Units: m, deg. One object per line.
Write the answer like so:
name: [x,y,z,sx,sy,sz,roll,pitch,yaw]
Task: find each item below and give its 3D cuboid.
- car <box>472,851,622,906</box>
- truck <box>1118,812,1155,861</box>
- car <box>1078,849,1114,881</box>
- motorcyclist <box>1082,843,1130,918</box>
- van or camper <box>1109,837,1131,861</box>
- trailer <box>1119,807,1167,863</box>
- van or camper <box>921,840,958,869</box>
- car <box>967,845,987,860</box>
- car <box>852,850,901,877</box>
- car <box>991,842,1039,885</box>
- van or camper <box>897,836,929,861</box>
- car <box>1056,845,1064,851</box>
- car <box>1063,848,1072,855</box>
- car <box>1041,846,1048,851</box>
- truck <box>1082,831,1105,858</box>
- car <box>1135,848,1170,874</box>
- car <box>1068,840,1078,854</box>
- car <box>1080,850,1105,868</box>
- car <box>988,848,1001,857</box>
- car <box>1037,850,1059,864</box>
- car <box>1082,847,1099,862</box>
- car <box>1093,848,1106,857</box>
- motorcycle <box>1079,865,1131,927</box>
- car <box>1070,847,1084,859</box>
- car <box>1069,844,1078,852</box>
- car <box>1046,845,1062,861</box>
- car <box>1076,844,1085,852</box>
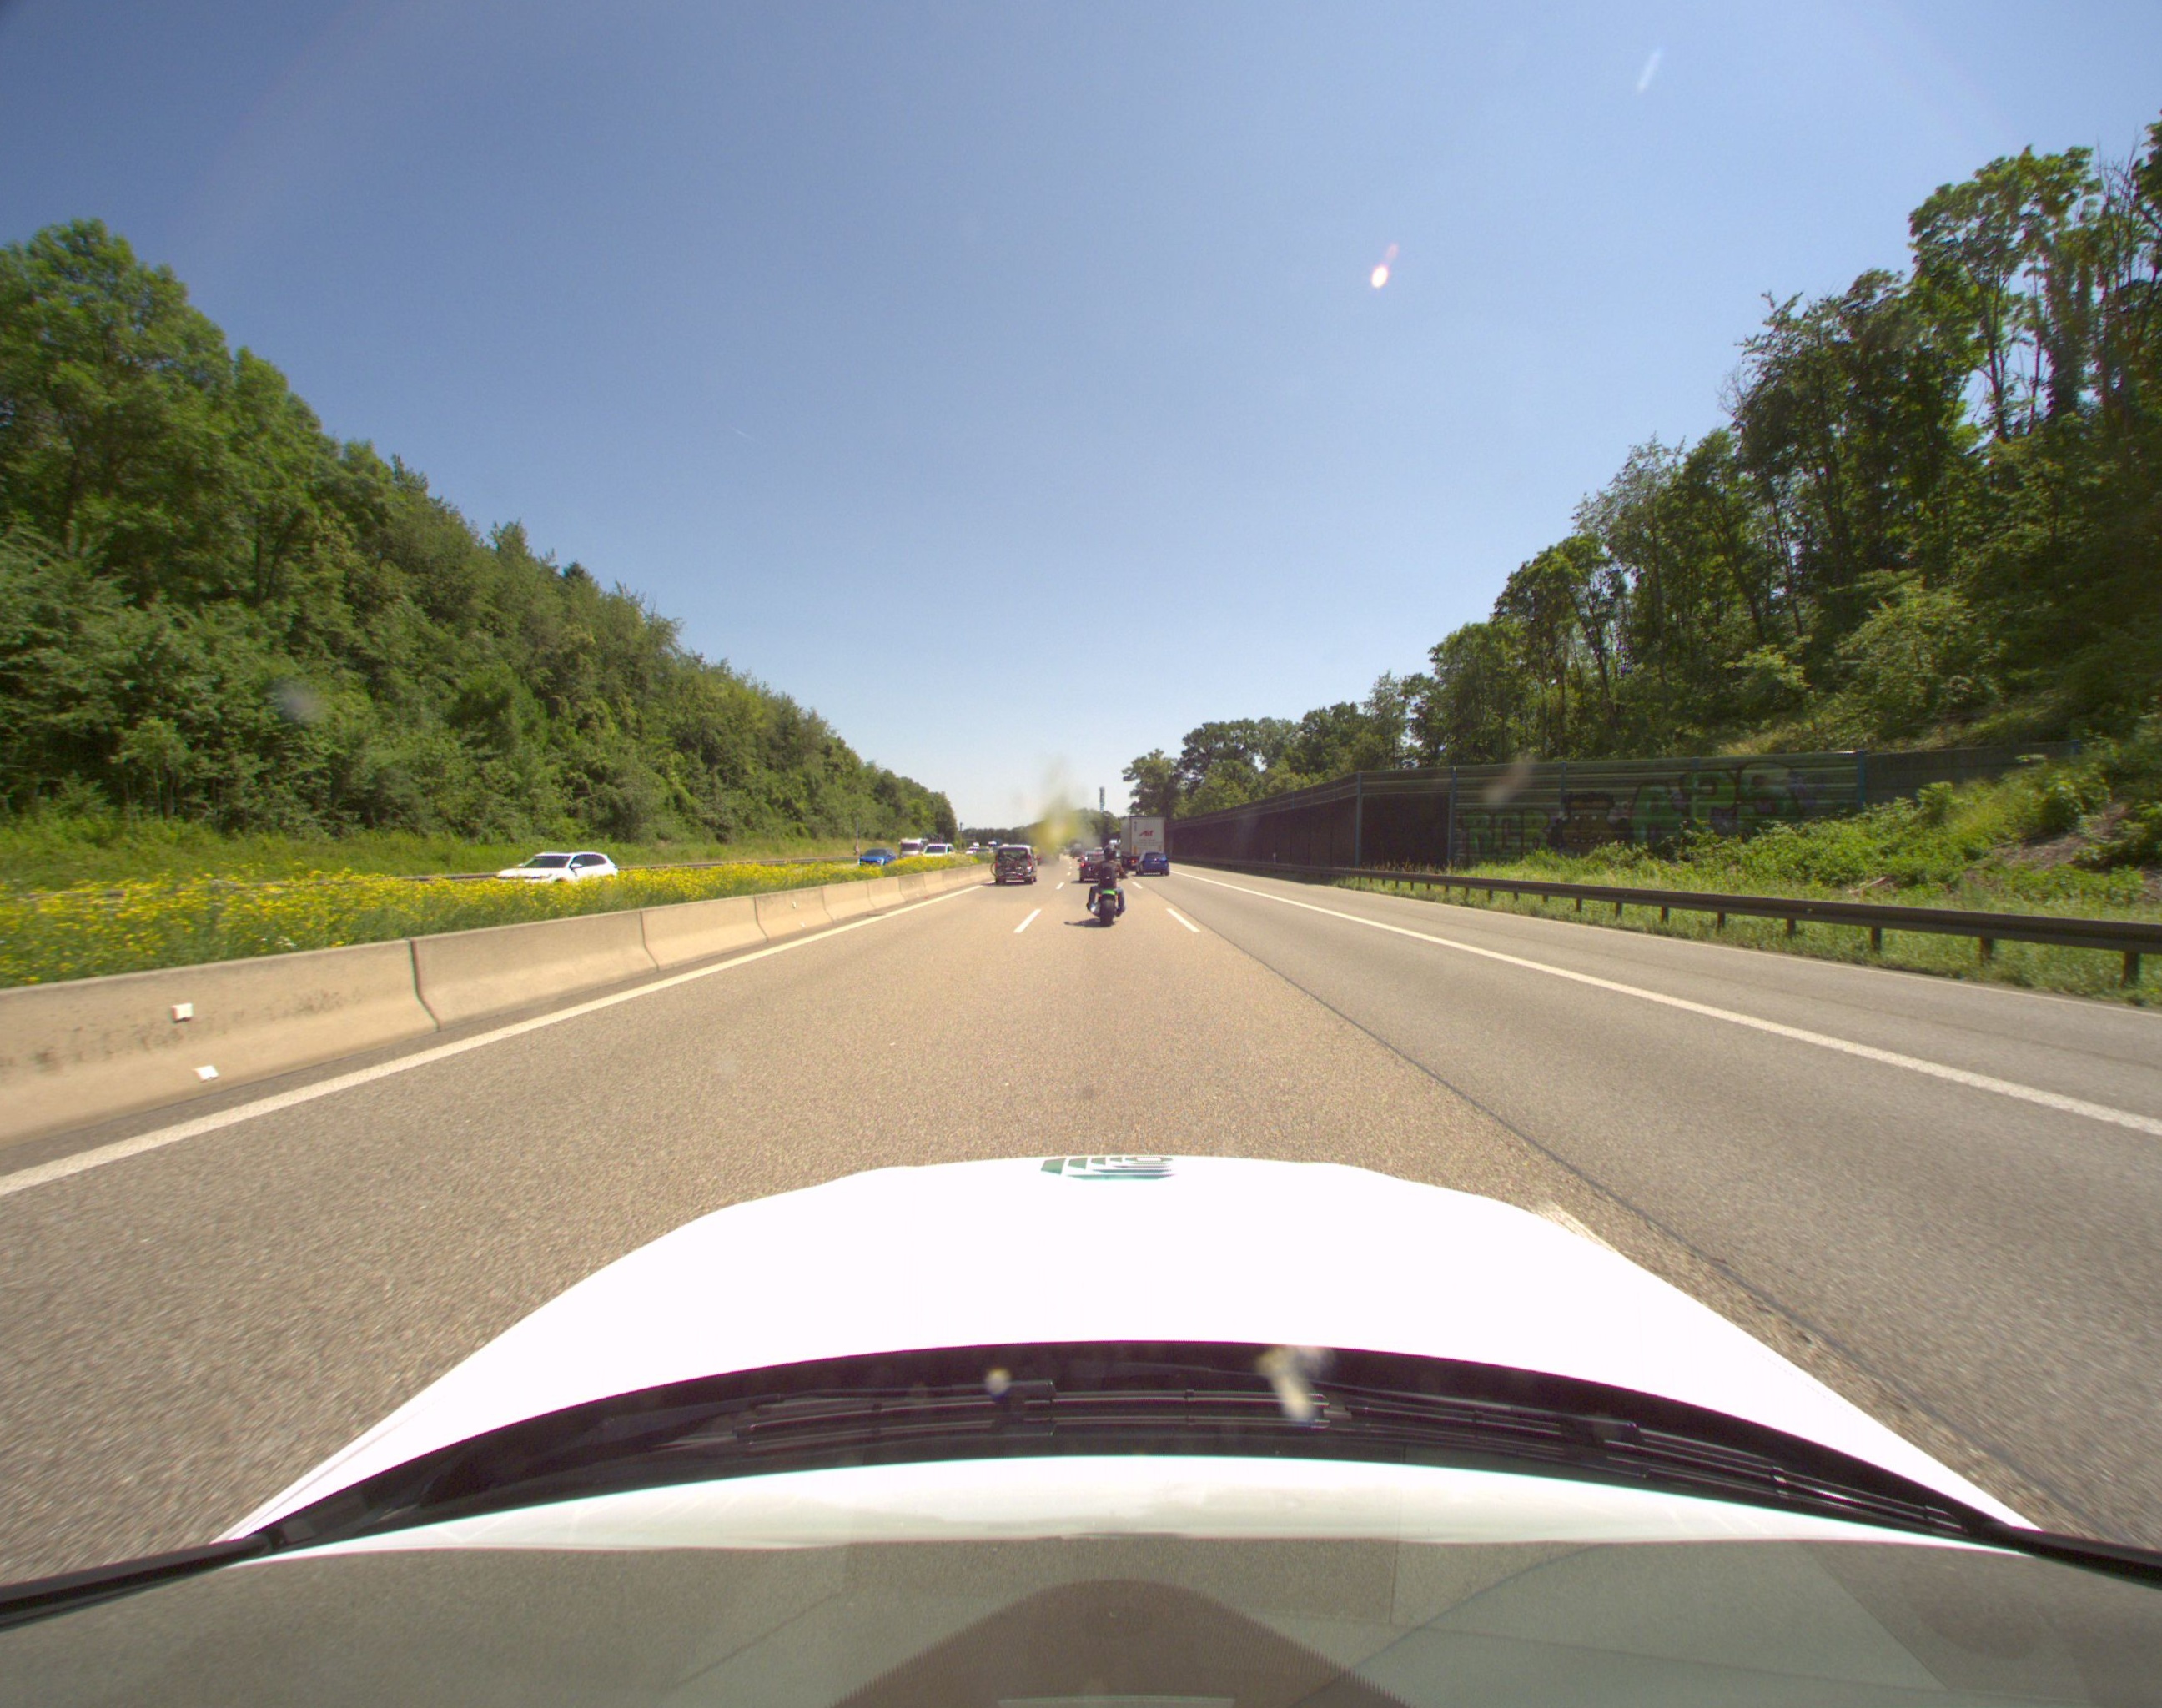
car: [-17.597,0.746,27.165,1.987,1.616,4.484,-1,0,0]
truck: [4.888,-1.523,72.777,2.876,4.146,5.986,-1,0,0]
car: [0.734,0.547,39.954,1.656,1.453,3.870,-1,-1,1]
motorcyclist: [0.546,0.537,17.127,0.895,1.475,1.874,-1,-1,4]
van or camper: [4.855,-0.562,101.828,2.675,2.813,6.805,-1,-1,2]
trailer: [4.816,-1.443,65.938,2.876,4.038,13.795,-1,0,1]
van or camper: [-10.287,0.029,59.478,1.876,2.014,4.587,-1,-1,0]
car: [-14.251,-0.141,111.607,1.986,2.014,4.570,-1,-1,2]
car: [-13.307,0.618,53.268,1.987,1.690,4.401,-1,-1,0]
car: [-3.046,0.433,38.408,1.893,1.873,4.411,-1,-1,-1]
van or camper: [-18.062,-0.498,87.774,2.180,2.560,6.927,-1,-1,-1]
car: [-5.156,-1.427,197.202,1.827,1.496,3.742,-1,-1,-1]
car: [-2.886,-0.507,169.713,1.827,1.496,3.742,-1,-1,-1]
car: [-11.078,-1.601,245.763,1.829,1.496,3.736,-1,-1,-5]
truck: [2.379,-1.721,157.603,3.794,4.960,8.939,-1,-1,-3]
car: [4.305,0.414,49.605,1.646,1.483,4.478,-1,-1,-2]
car: [-2.249,-1.902,218.614,2.129,3.861,8.129,0,0,-4]
car: [0.902,0.409,65.244,1.987,1.430,3.847,-1,-1,0]
car: [-16.067,-0.261,151.059,1.987,1.590,4.162,-1,-1,0]
car: [-3.317,0.297,81.940,1.987,1.387,3.999,-1,-1,0]
car: [1.011,0.093,87.311,1.773,1.552,3.585,-1,-1,1]
car: [3.282,-0.260,141.915,1.989,1.574,3.996,-1,-1,-3]
motorcycle: [0.550,0.849,17.349,0.960,1.148,2.815,0,0,4]
car: [-0.523,-0.133,120.718,1.987,1.640,4.000,-1,-1,1]
car: [-1.963,-1.588,210.118,2.103,1.876,3.996,-1,-1,-3]
car: [-3.492,-0.094,105.365,1.785,2.014,3.642,-1,-1,1]
car: [-0.178,-1.599,204.564,2.103,1.876,3.996,-1,-1,-3]
